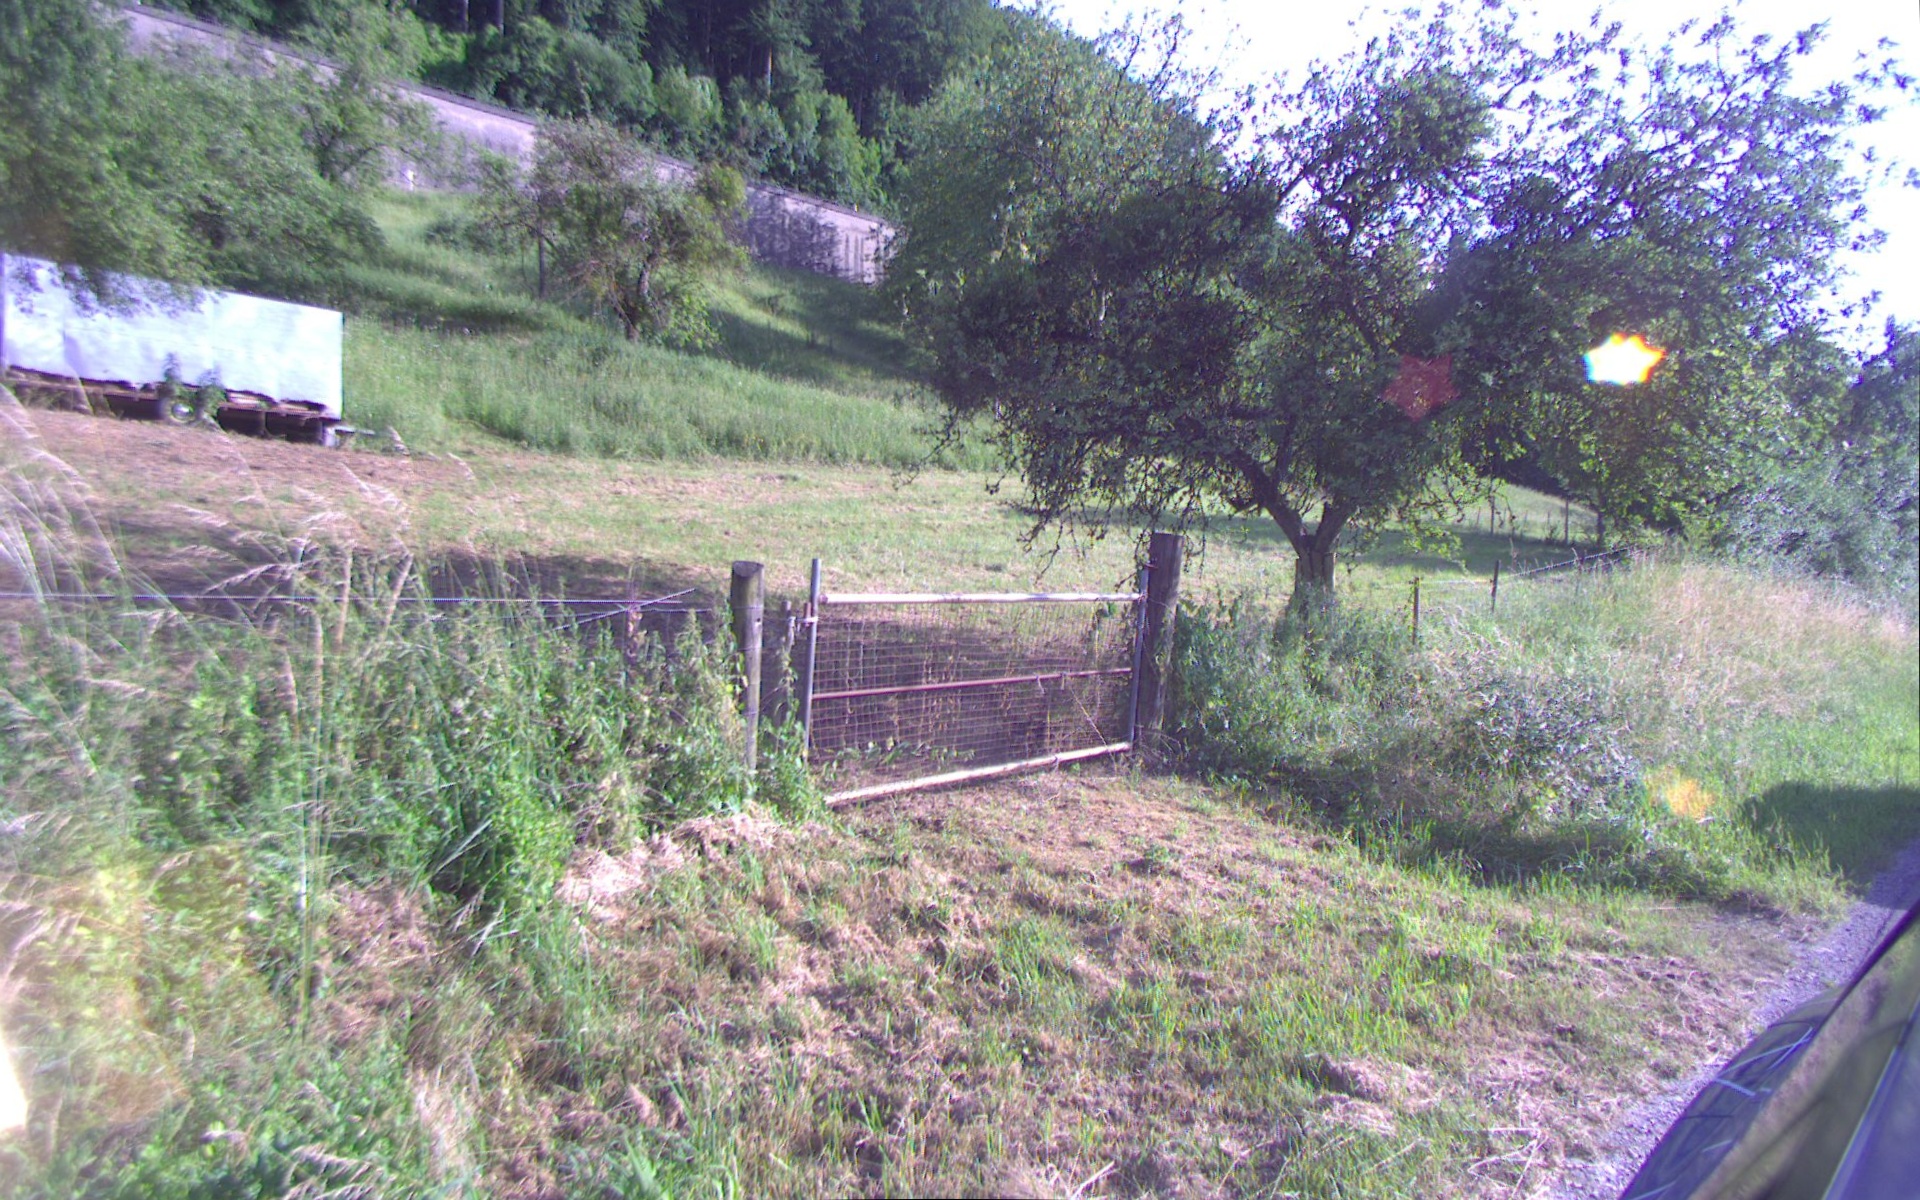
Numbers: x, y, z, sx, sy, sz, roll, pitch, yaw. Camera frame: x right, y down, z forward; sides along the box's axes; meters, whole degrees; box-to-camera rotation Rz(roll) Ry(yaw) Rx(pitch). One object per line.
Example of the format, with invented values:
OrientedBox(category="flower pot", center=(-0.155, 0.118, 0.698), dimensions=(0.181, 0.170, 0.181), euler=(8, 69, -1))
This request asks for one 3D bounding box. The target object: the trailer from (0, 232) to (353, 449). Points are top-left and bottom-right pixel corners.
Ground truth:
OrientedBox(category="trailer", center=(-14.247, -4.445, 18.265), dimensions=(5.159, 2.590, 2.155), euler=(4, 1, -44))
